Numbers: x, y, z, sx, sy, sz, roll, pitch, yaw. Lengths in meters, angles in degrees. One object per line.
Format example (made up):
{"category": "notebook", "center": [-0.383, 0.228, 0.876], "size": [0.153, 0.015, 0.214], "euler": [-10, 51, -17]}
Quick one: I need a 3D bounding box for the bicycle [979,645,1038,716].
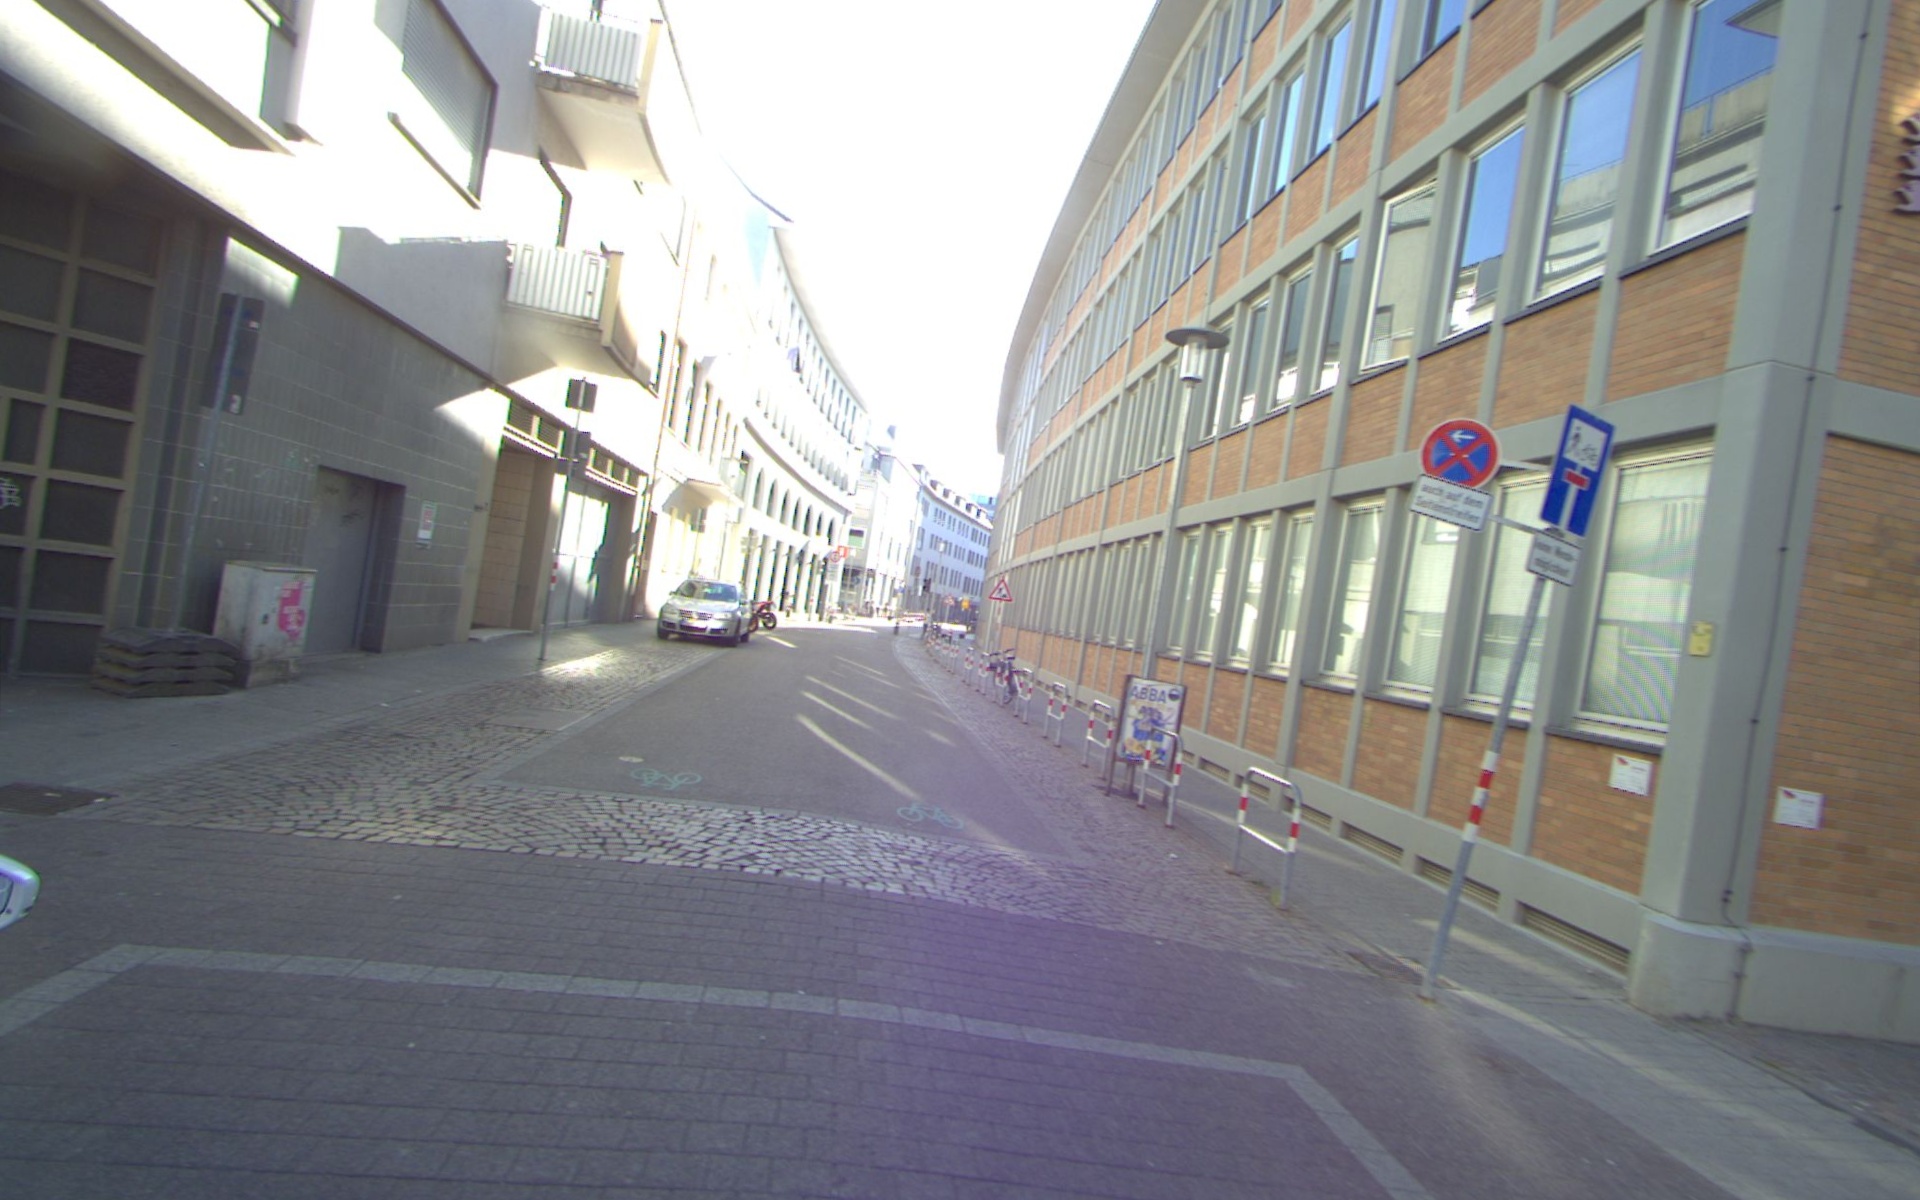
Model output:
{"category": "bicycle", "center": [0.898, 1.497, 19.141], "size": [0.627, 1.129, 1.929], "euler": [9, -1, -7]}

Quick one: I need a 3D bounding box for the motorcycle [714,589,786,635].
{"category": "motorcycle", "center": [-7.197, 0.395, 34.459], "size": [2.246, 1.260, 0.575], "euler": [8, 0, 14]}

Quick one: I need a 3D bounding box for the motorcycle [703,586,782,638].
{"category": "motorcycle", "center": [-6.641, 0.370, 30.712], "size": [2.171, 1.260, 0.575], "euler": [8, 0, 14]}

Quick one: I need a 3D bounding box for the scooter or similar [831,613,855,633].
{"category": "scooter or similar", "center": [-8.021, 1.591, 69.000], "size": [0.529, 1.211, 1.937], "euler": [8, -2, -38]}

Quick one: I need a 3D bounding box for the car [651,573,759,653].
{"category": "car", "center": [-5.794, 0.285, 23.275], "size": [1.740, 1.488, 3.810], "euler": [7, -1, -6]}

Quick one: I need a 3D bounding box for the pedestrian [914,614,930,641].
{"category": "pedestrian", "center": [-2.166, 1.547, 57.075], "size": [0.648, 1.458, 0.595], "euler": [9, 0, -5]}
